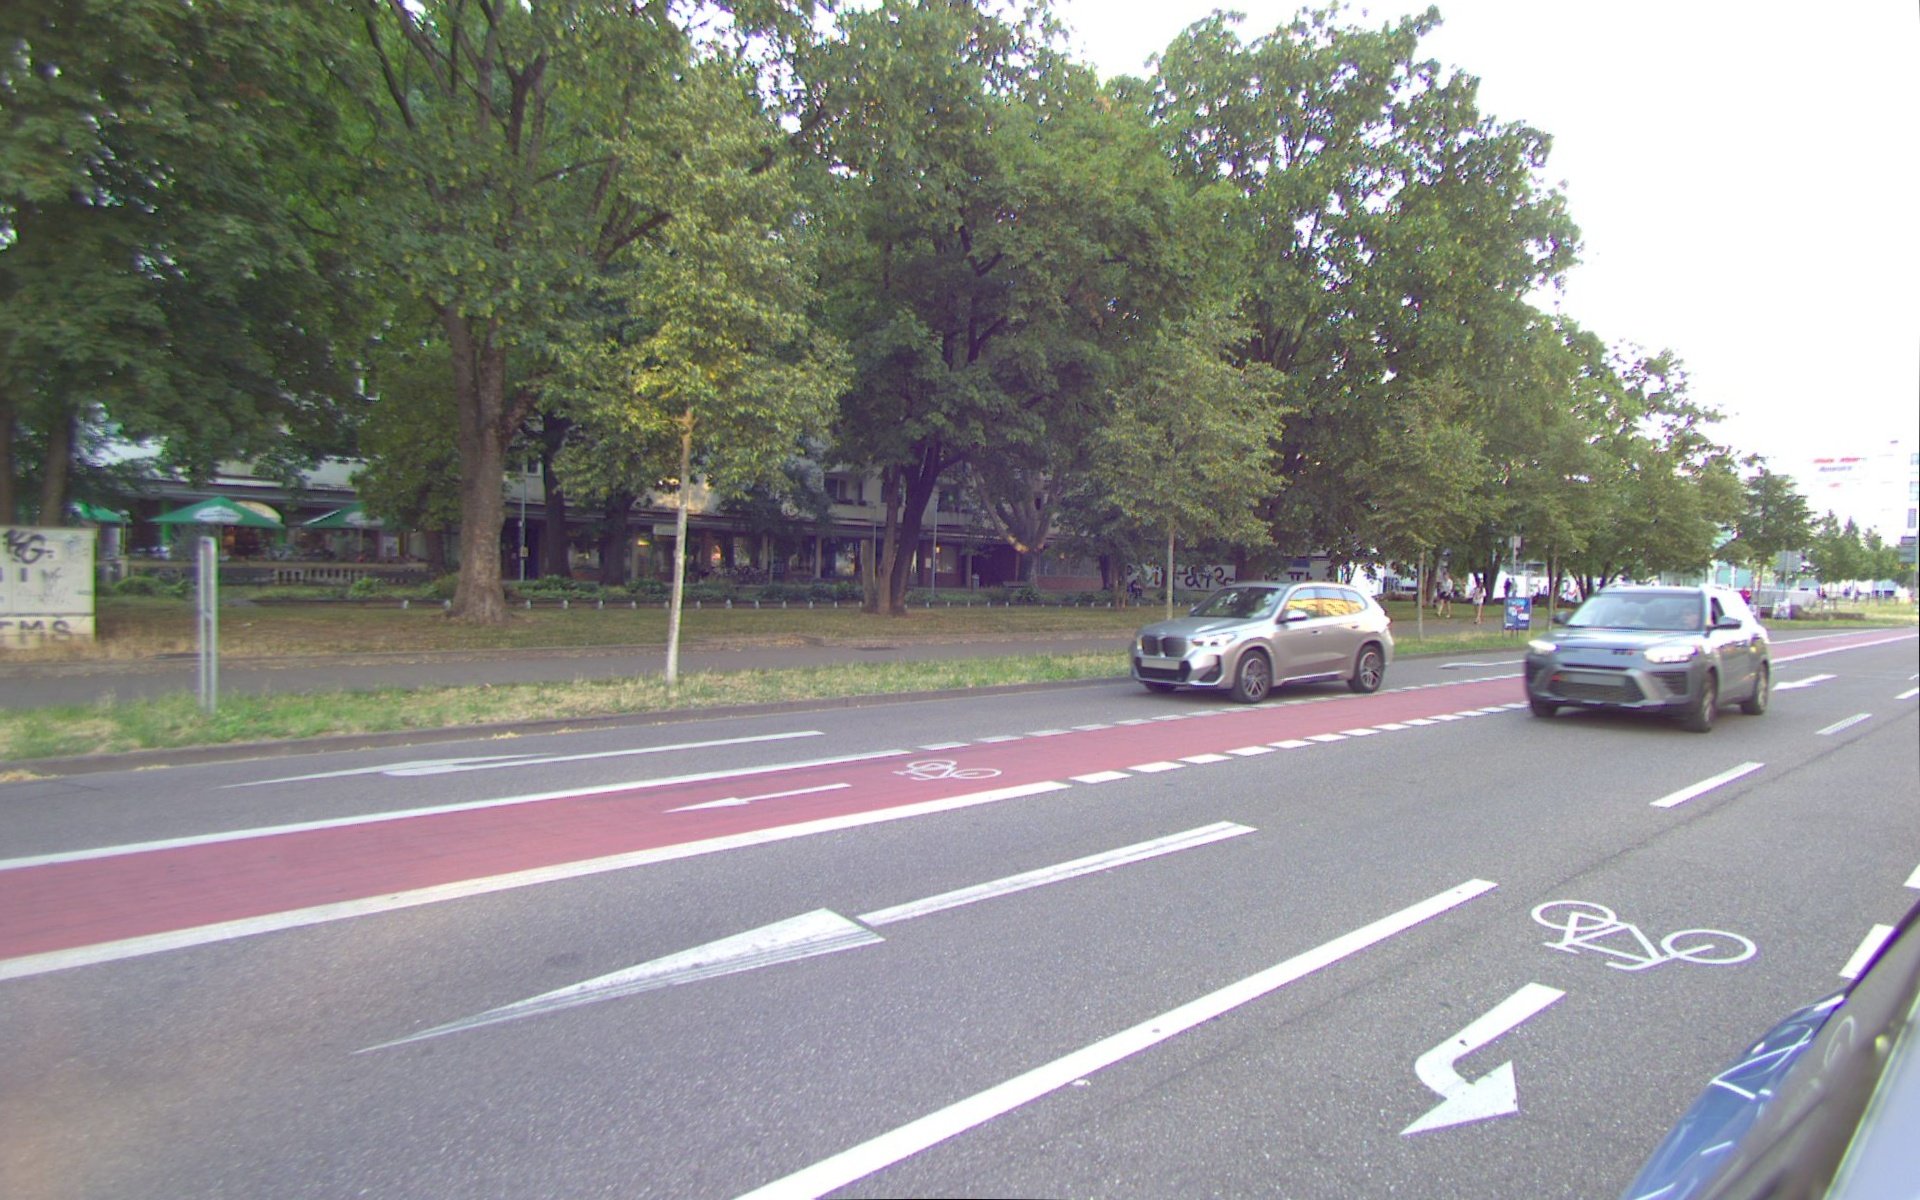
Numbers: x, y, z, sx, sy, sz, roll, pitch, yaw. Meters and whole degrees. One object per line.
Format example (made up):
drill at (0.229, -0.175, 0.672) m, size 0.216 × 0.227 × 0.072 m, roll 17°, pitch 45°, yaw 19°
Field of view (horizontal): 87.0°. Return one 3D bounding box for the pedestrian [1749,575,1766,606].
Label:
pedestrian at (46.250, -0.560, 58.698) m, size 0.497 × 1.779 × 0.638 m, roll 0°, pitch 2°, yaw -40°

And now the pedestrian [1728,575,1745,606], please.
pedestrian at (45.652, -0.567, 59.512) m, size 0.497 × 1.779 × 0.638 m, roll 0°, pitch 2°, yaw -40°

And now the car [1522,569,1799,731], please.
car at (8.681, 0.495, 12.410) m, size 4.141 × 1.647 × 1.781 m, roll 0°, pitch 2°, yaw -41°

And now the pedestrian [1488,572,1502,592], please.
pedestrian at (37.558, -1.258, 71.037) m, size 0.669 × 1.371 × 0.631 m, roll 0°, pitch 2°, yaw -41°

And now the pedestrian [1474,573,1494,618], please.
pedestrian at (19.132, -0.182, 36.981) m, size 0.359 × 1.621 × 0.500 m, roll 0°, pitch 2°, yaw -40°

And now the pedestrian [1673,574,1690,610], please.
pedestrian at (36.094, -0.408, 50.641) m, size 0.707 × 1.751 × 0.508 m, roll 0°, pitch 2°, yaw -41°

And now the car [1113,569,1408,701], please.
car at (4.394, 0.429, 14.575) m, size 4.254 × 1.642 × 1.828 m, roll 0°, pitch 0°, yaw -35°

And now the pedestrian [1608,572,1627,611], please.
pedestrian at (30.070, -0.410, 46.261) m, size 0.707 × 1.751 × 0.508 m, roll 0°, pitch 2°, yaw -41°

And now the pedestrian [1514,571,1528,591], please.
pedestrian at (38.674, -1.294, 69.797) m, size 0.550 × 1.371 × 0.662 m, roll 0°, pitch 2°, yaw -40°

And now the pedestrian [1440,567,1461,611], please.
pedestrian at (18.250, -0.424, 37.679) m, size 0.513 × 1.621 × 0.500 m, roll 0°, pitch 2°, yaw -41°

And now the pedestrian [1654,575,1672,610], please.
pedestrian at (35.722, -0.401, 51.435) m, size 0.707 × 1.751 × 0.519 m, roll 0°, pitch 2°, yaw -40°

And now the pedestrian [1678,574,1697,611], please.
pedestrian at (34.403, -0.361, 47.843) m, size 0.546 × 1.760 × 0.558 m, roll 0°, pitch 2°, yaw -41°
